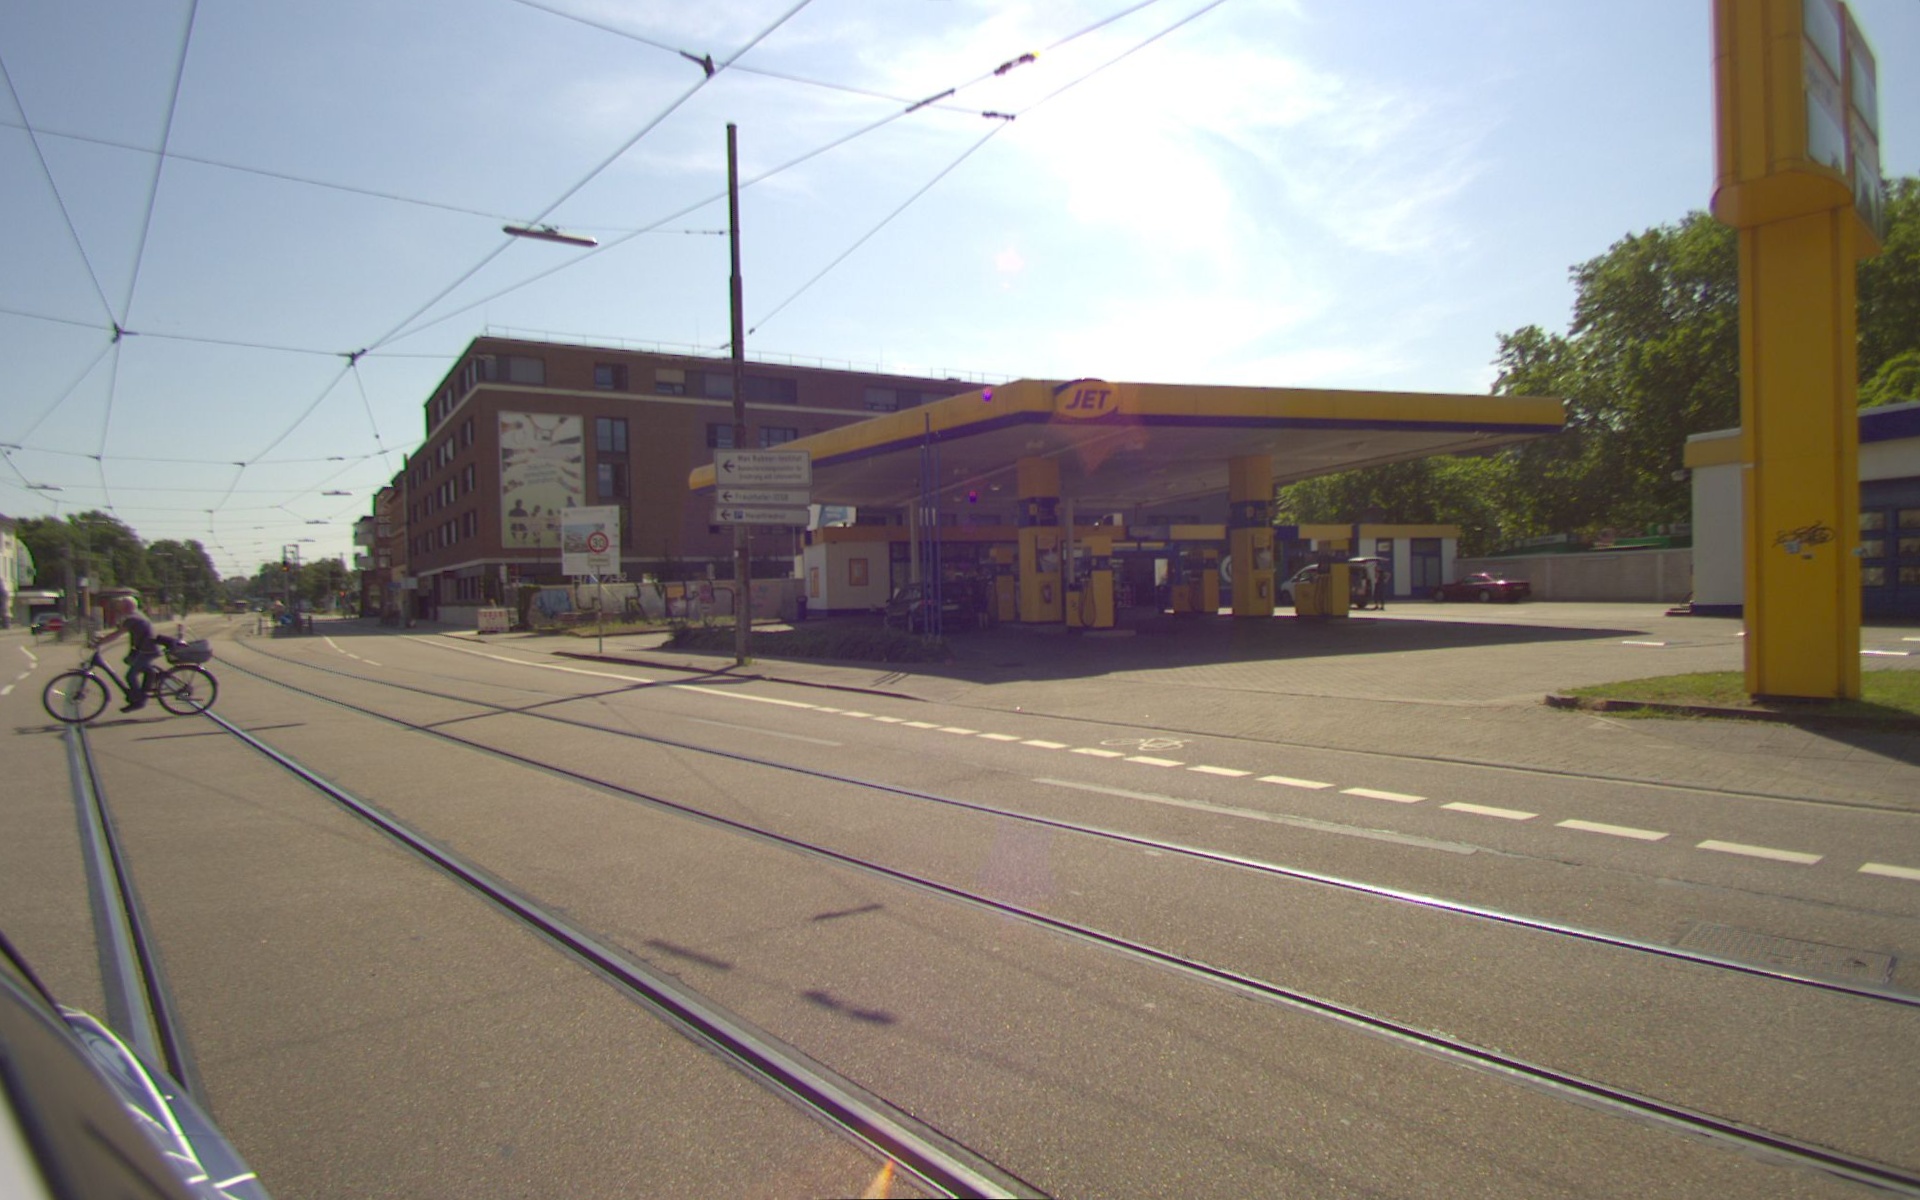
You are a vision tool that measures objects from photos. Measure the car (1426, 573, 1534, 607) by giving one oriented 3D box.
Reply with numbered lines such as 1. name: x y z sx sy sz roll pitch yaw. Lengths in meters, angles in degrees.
1. car: 23.007 -0.425 44.969 1.731 1.370 4.145 -2 1 -20

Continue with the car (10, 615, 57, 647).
1. car: -63.521 2.103 69.407 1.968 2.029 4.009 -2 0 -37

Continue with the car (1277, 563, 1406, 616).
1. car: 15.495 -0.405 41.486 1.731 1.997 5.324 -2 1 -22

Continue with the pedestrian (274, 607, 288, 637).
1. pedestrian: -41.498 1.355 61.860 0.549 1.773 0.795 -2 1 -41

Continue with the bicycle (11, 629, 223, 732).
1. bicycle: -11.319 1.049 13.686 2.087 1.206 0.614 -2 0 -28

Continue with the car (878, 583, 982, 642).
1. car: -0.981 0.370 29.762 1.732 1.466 4.423 -5 1 -19

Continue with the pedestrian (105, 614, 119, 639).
1. pedestrian: -58.853 1.866 70.233 0.697 1.702 0.417 -2 0 -43

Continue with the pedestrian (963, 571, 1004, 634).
1. pedestrian: 0.680 0.069 28.869 0.845 1.738 0.746 -2 0 -40

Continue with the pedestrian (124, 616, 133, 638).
1. pedestrian: -65.095 2.117 79.250 0.707 1.702 0.411 -1 0 41

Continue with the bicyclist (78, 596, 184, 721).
1. bicyclist: -11.236 0.764 13.761 0.948 1.607 0.909 -1 0 -30
